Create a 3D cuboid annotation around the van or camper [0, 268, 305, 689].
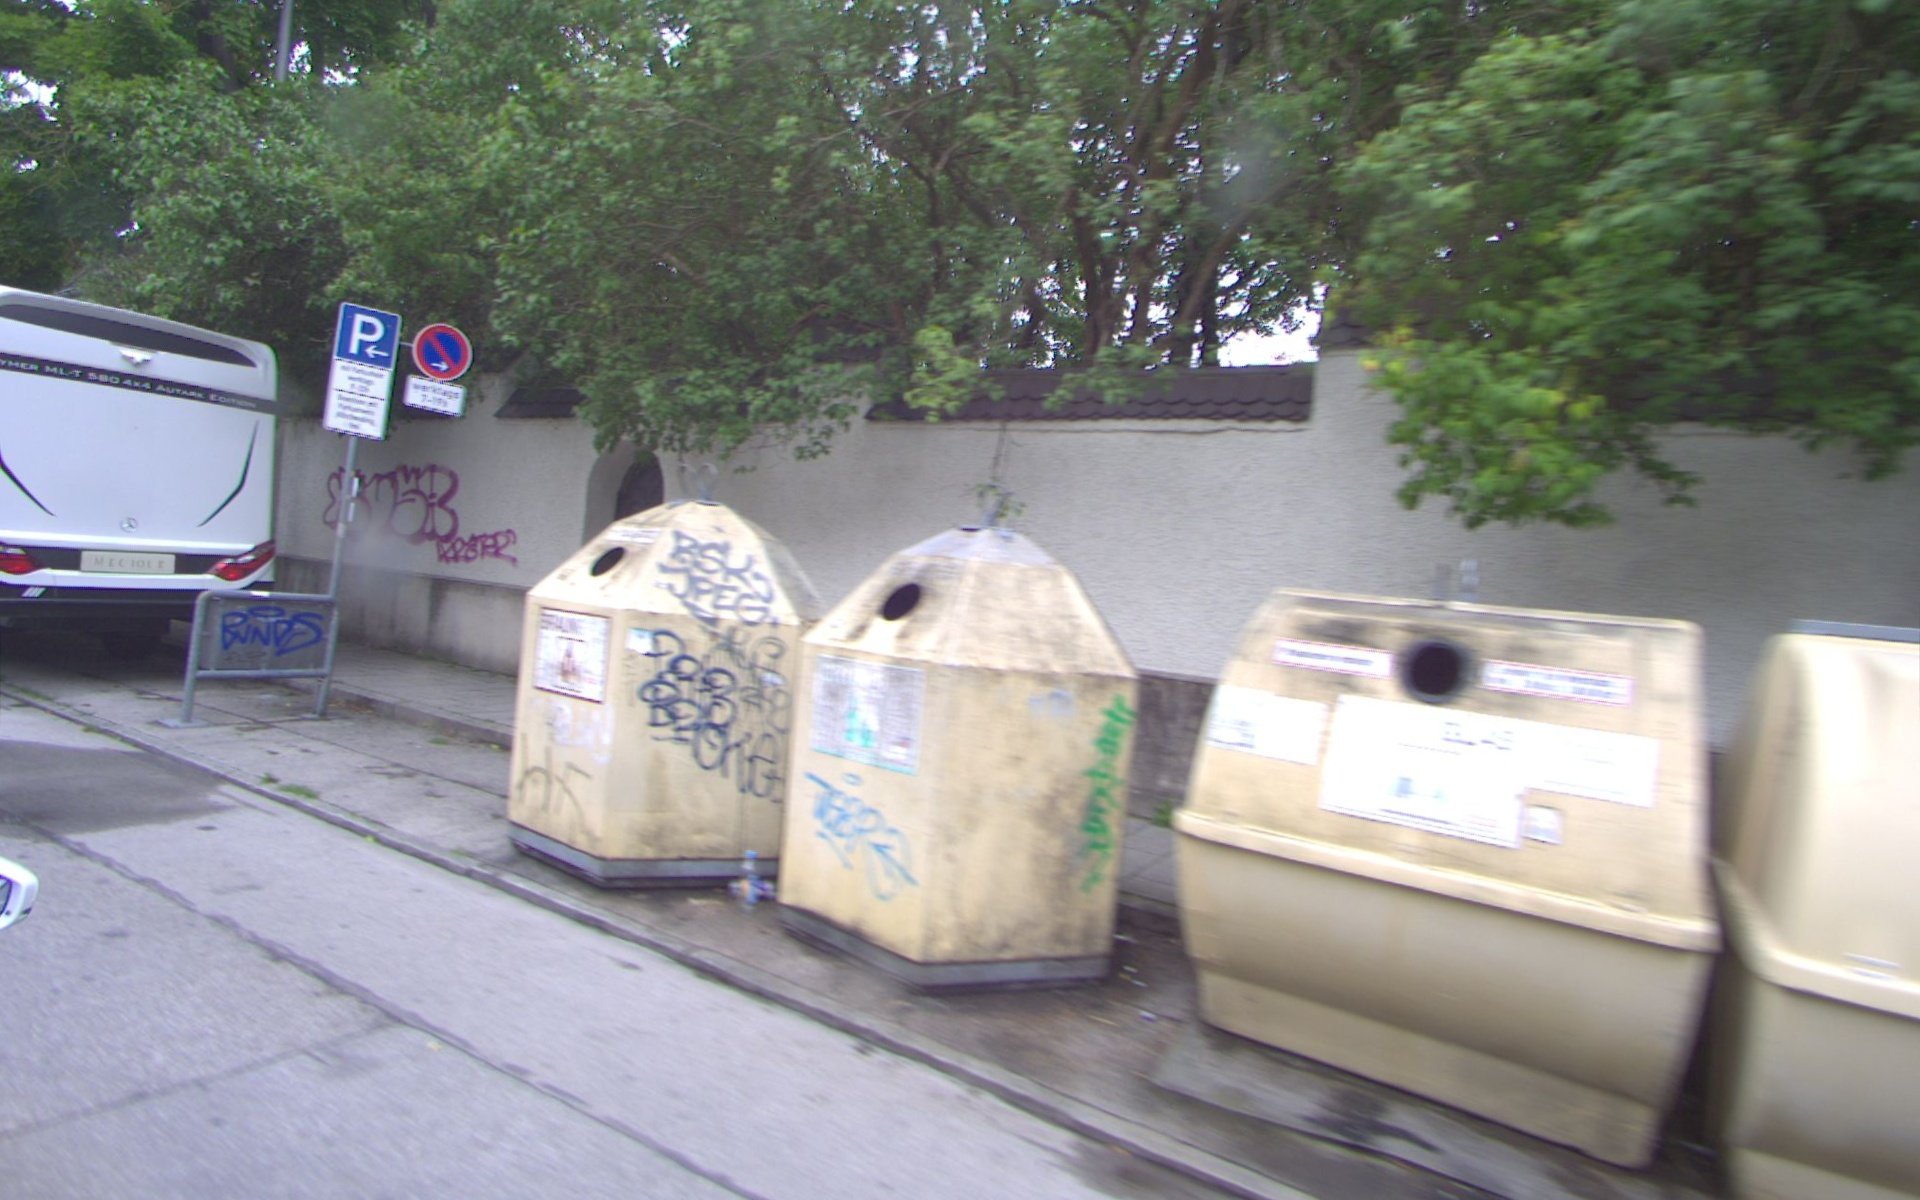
[{"bbox_3d":[-9.513,-1.140,9.513,7.151,2.942,2.276,7,1,29],"label":"van or camper"}]
